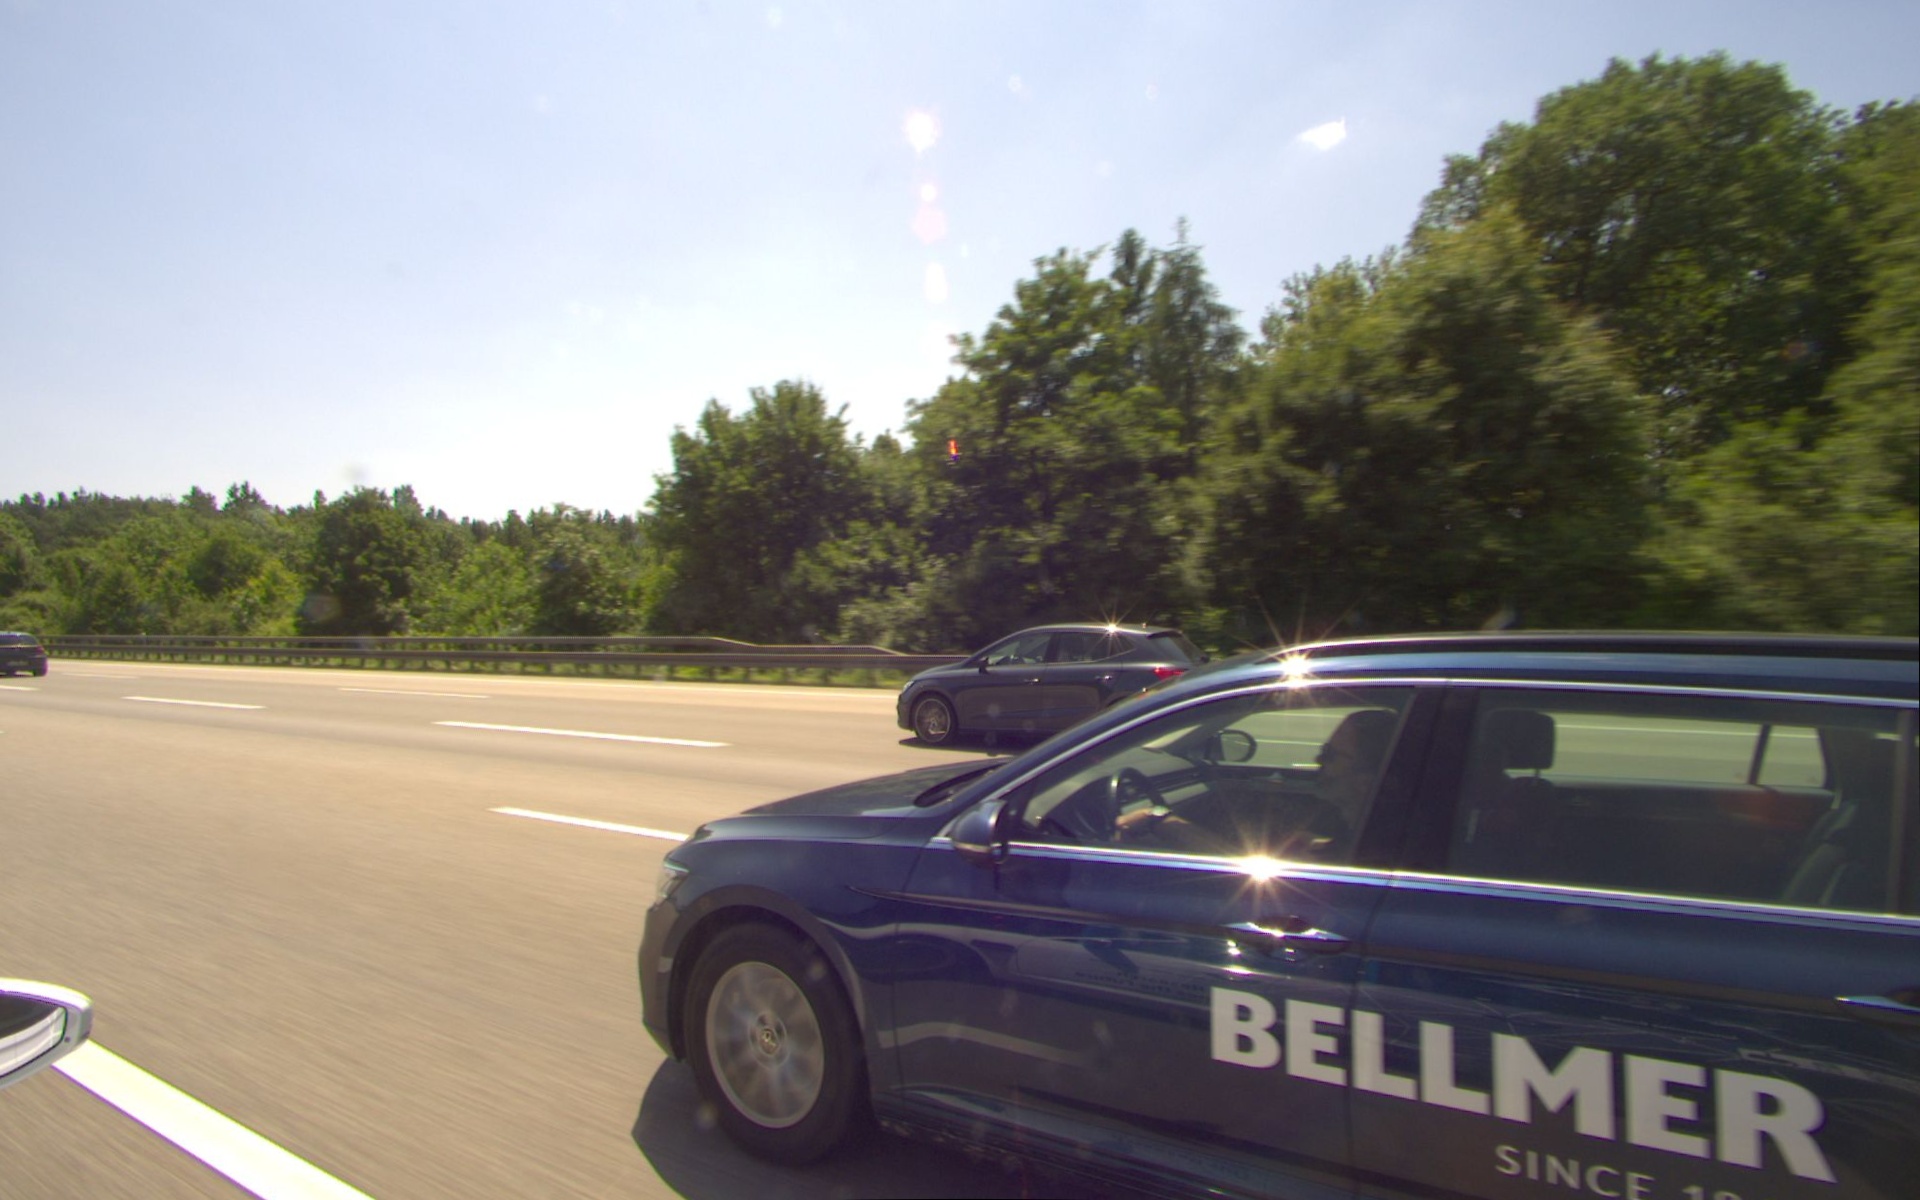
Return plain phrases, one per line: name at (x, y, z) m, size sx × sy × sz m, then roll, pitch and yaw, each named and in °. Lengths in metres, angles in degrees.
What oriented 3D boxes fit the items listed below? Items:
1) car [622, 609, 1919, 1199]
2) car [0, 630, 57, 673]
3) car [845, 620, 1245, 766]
car at (1.497, 0.767, 2.414) m, size 4.891 × 1.466 × 1.726 m, roll -1°, pitch 0°, yaw 33°
car at (-30.639, 1.613, 31.944) m, size 4.228 × 1.290 × 1.667 m, roll -1°, pitch -1°, yaw 32°
car at (0.920, 0.981, 12.052) m, size 4.568 × 1.457 × 1.640 m, roll 0°, pitch -1°, yaw 32°
